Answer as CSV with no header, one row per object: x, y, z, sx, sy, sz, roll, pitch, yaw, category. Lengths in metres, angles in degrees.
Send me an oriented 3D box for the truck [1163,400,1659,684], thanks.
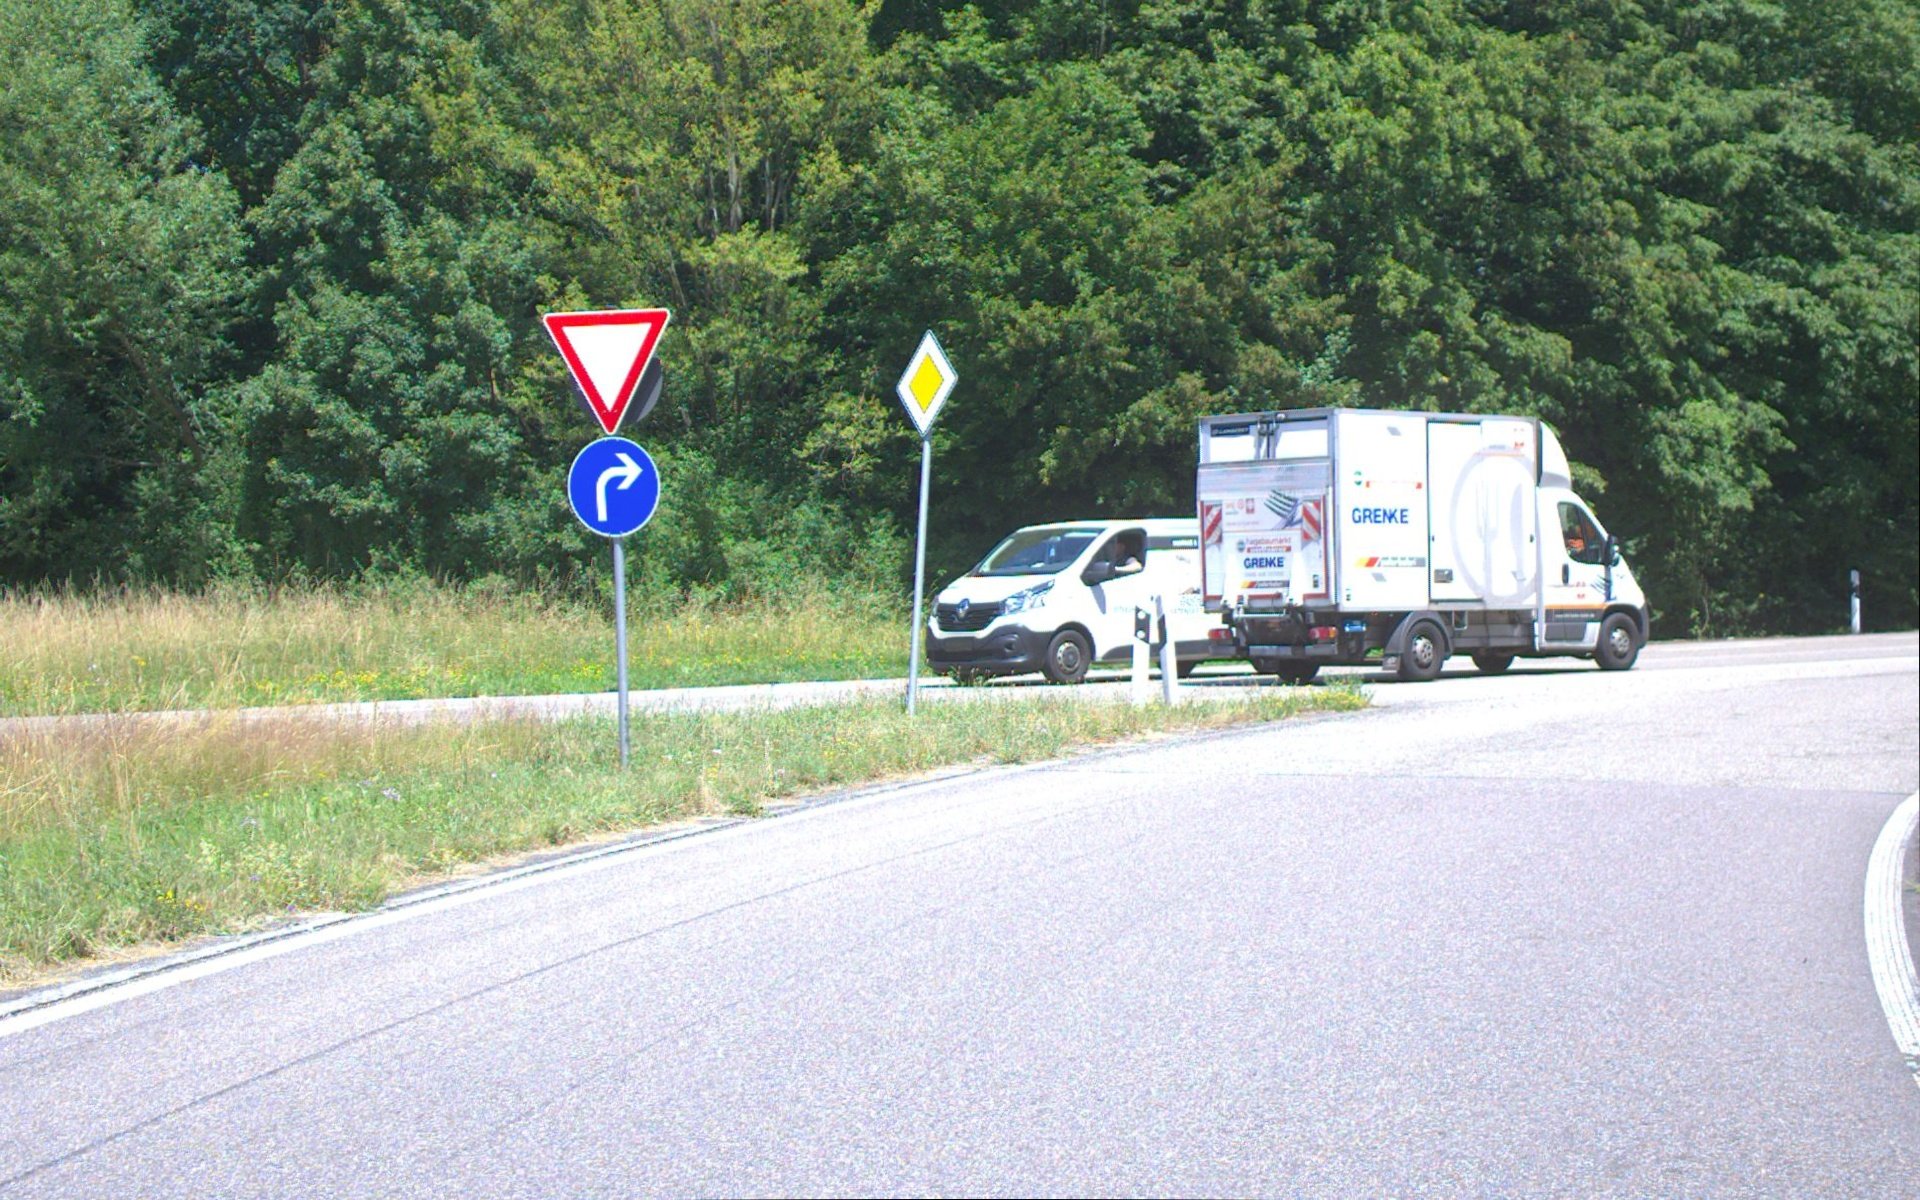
5.171,-0.645,38.781,5.878,2.974,2.247,-1,1,-42,truck

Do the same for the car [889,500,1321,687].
1.819,-0.119,41.403,5.379,1.954,1.914,-4,2,-43,car
